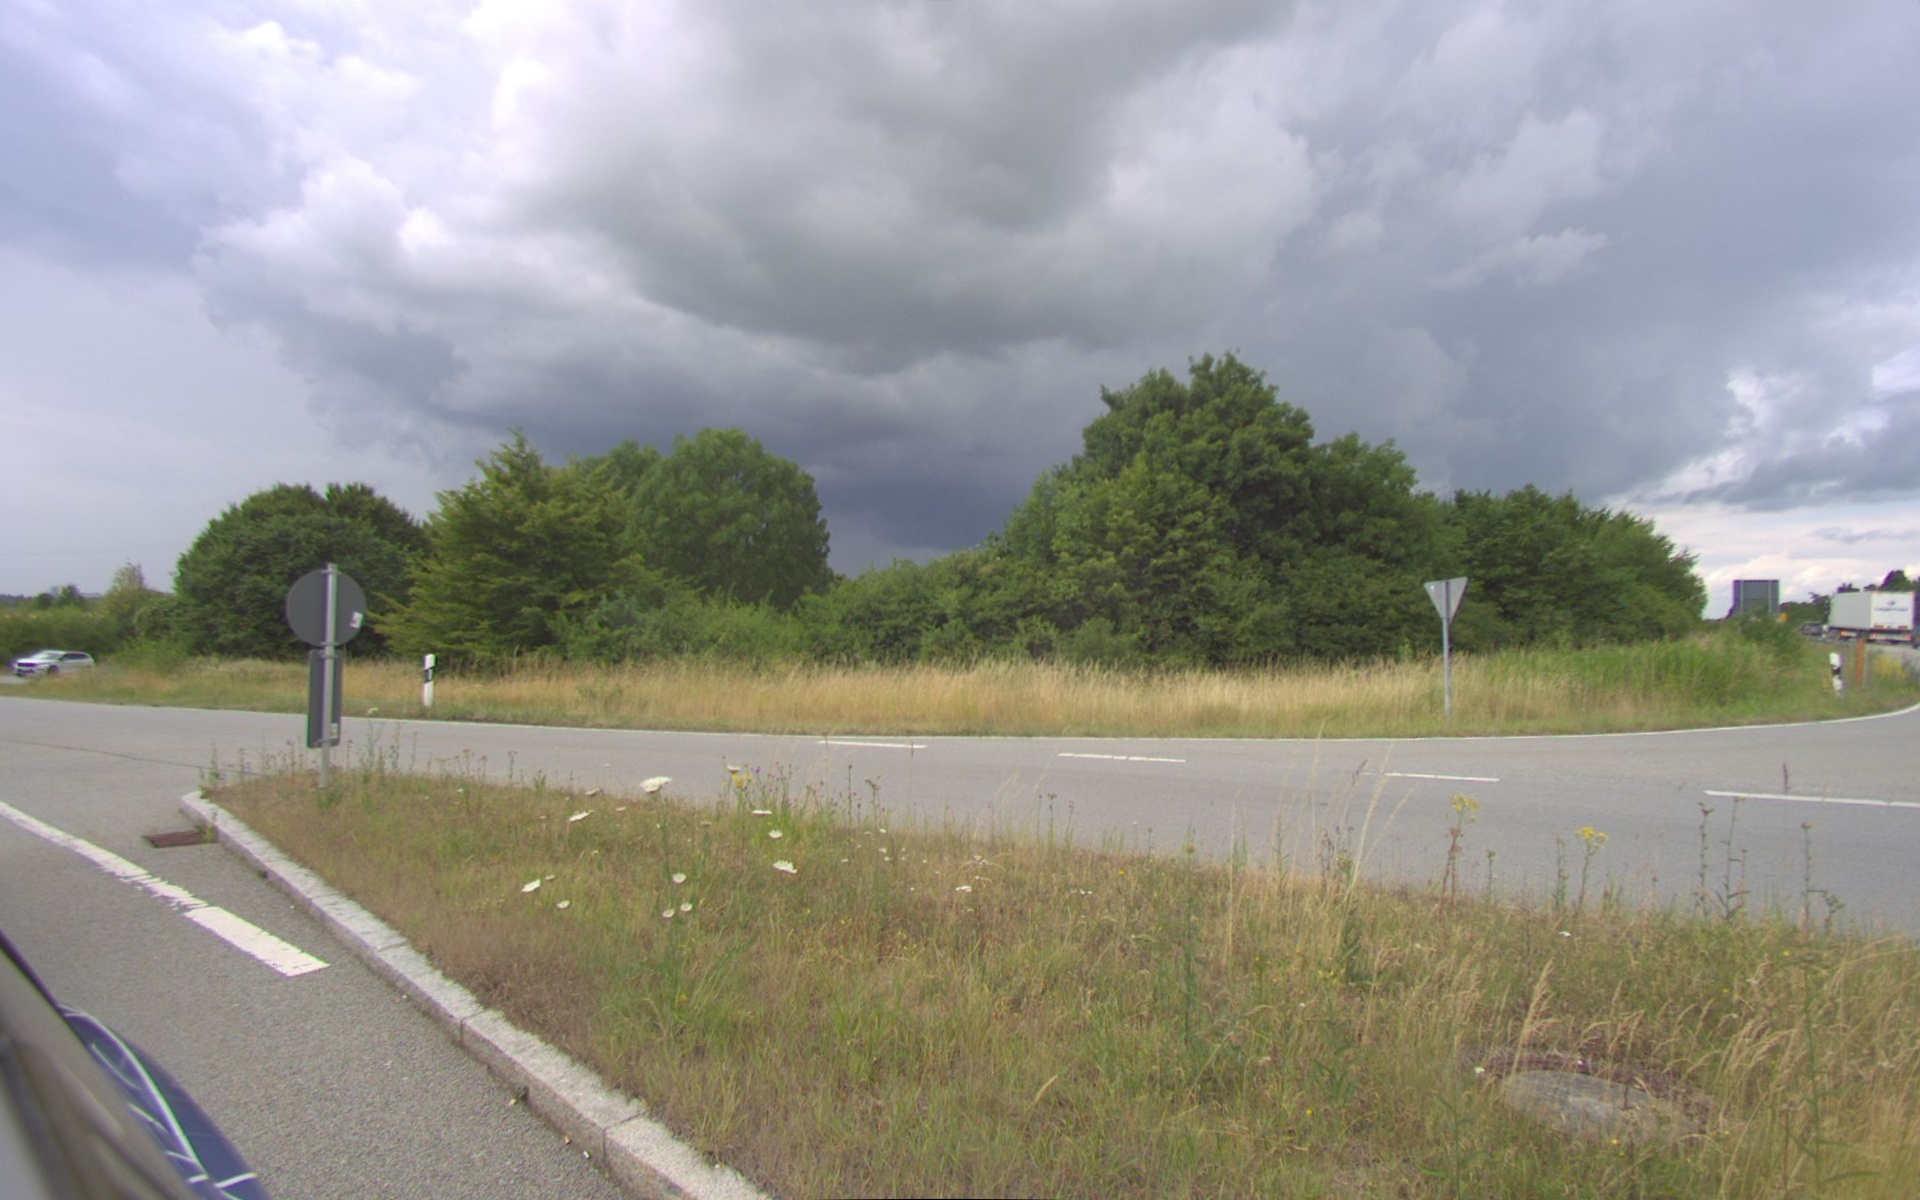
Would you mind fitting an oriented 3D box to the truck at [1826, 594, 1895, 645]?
[{"bbox_3d":[75.966,1.673,85.531,3.119,4.044,7.226,1,-1,32],"label":"truck"}]

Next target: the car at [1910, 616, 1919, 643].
[{"bbox_3d":[61.887,1.889,63.755,1.992,1.695,4.432,1,-1,30],"label":"car"}]

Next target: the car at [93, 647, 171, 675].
[{"bbox_3d":[-56.989,4.175,69.786,1.967,1.732,5.222,3,-3,-13],"label":"car"}]

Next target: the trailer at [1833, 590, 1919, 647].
[{"bbox_3d":[72.553,1.498,80.078,3.119,4.044,13.733,1,-1,32],"label":"trailer"}]

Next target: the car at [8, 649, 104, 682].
[{"bbox_3d":[-54.313,3.919,60.935,1.967,1.732,5.222,3,-3,-13],"label":"car"}]
